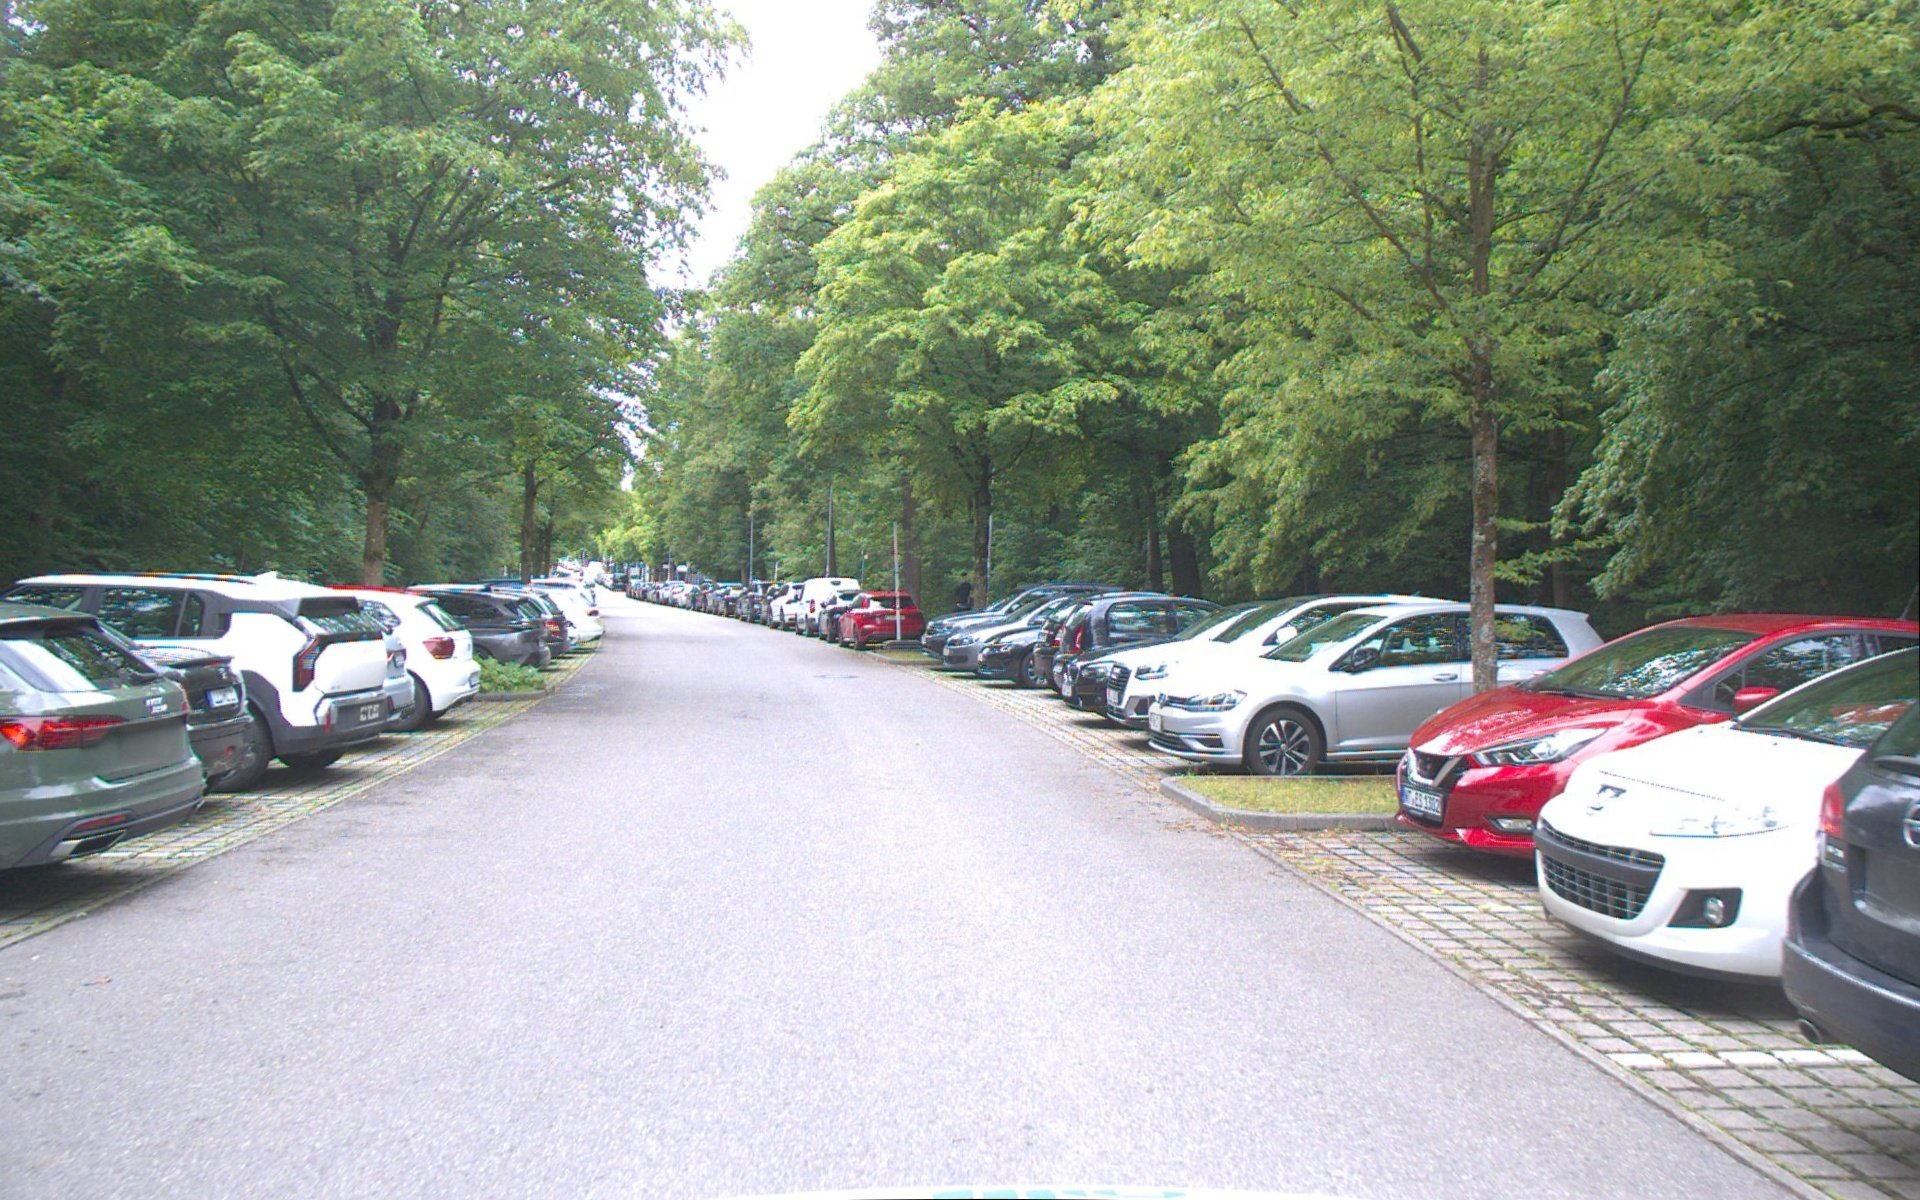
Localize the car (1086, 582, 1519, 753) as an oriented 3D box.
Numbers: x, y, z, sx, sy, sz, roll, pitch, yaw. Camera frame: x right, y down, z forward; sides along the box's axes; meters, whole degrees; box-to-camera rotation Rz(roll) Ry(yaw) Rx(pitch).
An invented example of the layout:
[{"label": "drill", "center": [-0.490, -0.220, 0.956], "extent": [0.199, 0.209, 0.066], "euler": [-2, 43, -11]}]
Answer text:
[{"label": "car", "center": [3.407, 0.650, 16.961], "extent": [3.930, 1.586, 1.976], "euler": [1, 1, -5]}]

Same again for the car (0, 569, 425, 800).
[{"label": "car", "center": [-6.477, 0.596, 12.966], "extent": [3.878, 1.656, 1.999], "euler": [0, 0, 2]}]

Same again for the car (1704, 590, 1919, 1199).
[{"label": "car", "center": [4.164, 0.774, 4.277], "extent": [3.696, 1.507, 1.771], "euler": [1, 1, -7]}]

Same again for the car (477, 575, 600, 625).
[{"label": "car", "center": [-15.014, 0.002, 59.078], "extent": [4.151, 1.661, 2.022], "euler": [1, 0, -13]}]

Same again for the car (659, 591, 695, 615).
[{"label": "car", "center": [-18.570, 0.190, 108.379], "extent": [1.696, 1.520, 3.753], "euler": [1, 0, -19]}]

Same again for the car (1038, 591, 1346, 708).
[{"label": "car", "center": [3.043, 0.632, 22.138], "extent": [3.755, 1.483, 1.806], "euler": [0, 0, -8]}]

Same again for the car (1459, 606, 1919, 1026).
[{"label": "car", "center": [4.326, 0.799, 6.923], "extent": [3.855, 1.435, 1.876], "euler": [1, 1, -5]}]

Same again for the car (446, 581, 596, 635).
[{"label": "car", "center": [-13.687, 0.242, 51.764], "extent": [4.437, 1.612, 1.920], "euler": [1, 0, -14]}]

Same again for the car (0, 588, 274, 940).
[{"label": "car", "center": [-6.002, 0.692, 7.954], "extent": [4.549, 1.504, 2.093], "euler": [0, 0, -5]}]

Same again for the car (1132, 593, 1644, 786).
[{"label": "car", "center": [3.641, 0.739, 14.436], "extent": [3.903, 1.509, 1.880], "euler": [1, 1, -9]}]

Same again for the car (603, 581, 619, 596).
[{"label": "car", "center": [-39.141, -1.323, 185.457], "extent": [1.601, 1.440, 3.398], "euler": [2, 3, -15]}]

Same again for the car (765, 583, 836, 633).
[{"label": "car", "center": [-5.710, 0.253, 58.639], "extent": [1.756, 1.691, 4.699], "euler": [1, 0, -15]}]

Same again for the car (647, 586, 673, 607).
[{"label": "car", "center": [-22.845, -0.270, 125.875], "extent": [1.682, 1.535, 3.985], "euler": [1, 0, -14]}]

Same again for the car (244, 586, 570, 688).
[{"label": "car", "center": [-8.207, 0.539, 24.932], "extent": [4.322, 1.449, 2.032], "euler": [1, 0, -8]}]

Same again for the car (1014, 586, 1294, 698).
[{"label": "car", "center": [2.806, 0.582, 24.363], "extent": [3.756, 1.558, 1.847], "euler": [0, 0, -9]}]

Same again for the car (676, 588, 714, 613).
[{"label": "car", "center": [-16.509, 0.012, 102.889], "extent": [1.905, 1.501, 3.975], "euler": [1, 0, -16]}]

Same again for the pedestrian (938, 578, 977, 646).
[{"label": "pedestrian", "center": [-0.070, 0.318, 43.673], "extent": [0.803, 1.756, 1.001], "euler": [1, 0, -12]}]

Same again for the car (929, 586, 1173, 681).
[{"label": "car", "center": [1.582, 0.585, 29.435], "extent": [3.921, 1.579, 1.968], "euler": [1, 0, -15]}]

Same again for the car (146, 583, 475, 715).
[{"label": "car", "center": [-7.798, 0.558, 20.125], "extent": [3.399, 1.507, 1.681], "euler": [0, 0, -7]}]

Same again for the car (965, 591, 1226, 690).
[{"label": "car", "center": [2.159, 0.638, 27.013], "extent": [3.913, 1.501, 1.949], "euler": [1, 0, -9]}]

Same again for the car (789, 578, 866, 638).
[{"label": "car", "center": [-4.251, 0.225, 52.623], "extent": [1.715, 1.811, 4.535], "euler": [1, 0, -14]}]

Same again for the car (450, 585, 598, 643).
[{"label": "car", "center": [-12.324, 0.387, 46.955], "extent": [3.966, 1.582, 1.913], "euler": [1, 0, -14]}]

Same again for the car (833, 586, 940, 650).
[{"label": "car", "center": [-1.941, 0.420, 41.943], "extent": [1.958, 1.505, 4.957], "euler": [1, 0, -12]}]

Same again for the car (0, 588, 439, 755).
[{"label": "car", "center": [-6.991, 0.618, 15.603], "extent": [3.733, 1.446, 1.893], "euler": [0, 0, -11]}]

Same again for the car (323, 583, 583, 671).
[{"label": "car", "center": [-9.046, 0.476, 29.871], "extent": [4.186, 1.512, 2.054], "euler": [1, 0, -8]}]

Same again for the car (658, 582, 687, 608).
[{"label": "car", "center": [-19.788, -0.351, 113.889], "extent": [1.682, 1.758, 3.985], "euler": [1, 0, -14]}]

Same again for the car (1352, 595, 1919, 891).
[{"label": "car", "center": [4.448, 0.748, 9.741], "extent": [3.729, 1.466, 1.864], "euler": [1, 1, -14]}]

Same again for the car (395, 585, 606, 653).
[{"label": "car", "center": [-10.379, 0.416, 37.552], "extent": [4.488, 1.472, 2.077], "euler": [0, 0, -16]}]

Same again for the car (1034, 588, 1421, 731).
[{"label": "car", "center": [3.079, 0.674, 19.469], "extent": [4.110, 1.538, 1.889], "euler": [1, 1, -10]}]

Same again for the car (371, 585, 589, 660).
[{"label": "car", "center": [-10.044, 0.466, 34.865], "extent": [4.292, 1.512, 1.885], "euler": [0, 0, -15]}]

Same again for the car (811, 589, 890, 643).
[{"label": "car", "center": [-3.195, 0.416, 47.420], "extent": [1.695, 1.447, 4.272], "euler": [1, 0, -12]}]

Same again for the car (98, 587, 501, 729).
[{"label": "car", "center": [-7.001, 0.583, 17.877], "extent": [3.655, 1.444, 1.869], "euler": [0, 0, -7]}]

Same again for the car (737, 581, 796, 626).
[{"label": "car", "center": [-8.236, 0.120, 69.907], "extent": [1.858, 1.777, 4.930], "euler": [1, 0, -14]}]

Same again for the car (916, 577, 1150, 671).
[{"label": "car", "center": [1.371, 0.449, 31.970], "extent": [4.188, 1.695, 1.954], "euler": [1, 0, -10]}]

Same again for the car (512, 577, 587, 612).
[{"label": "car", "center": [-22.516, -0.301, 90.705], "extent": [3.924, 1.848, 2.105], "euler": [1, 0, -17]}]

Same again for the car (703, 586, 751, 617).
[{"label": "car", "center": [-12.127, 0.064, 85.854], "extent": [1.945, 1.564, 4.603], "euler": [1, 0, -15]}]

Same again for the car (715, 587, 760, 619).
[{"label": "car", "center": [-10.805, 0.129, 80.174], "extent": [1.610, 1.503, 4.133], "euler": [1, 0, -16]}]

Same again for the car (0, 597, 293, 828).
[{"label": "car", "center": [-6.531, 0.676, 10.752], "extent": [3.716, 1.380, 1.727], "euler": [0, 0, -6]}]

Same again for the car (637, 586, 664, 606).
[{"label": "car", "center": [-24.870, -0.315, 132.779], "extent": [1.888, 1.547, 3.873], "euler": [1, 0, -13]}]

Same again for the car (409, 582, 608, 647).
[{"label": "car", "center": [-10.793, 0.355, 39.856], "extent": [4.482, 1.512, 1.864], "euler": [0, 0, -12]}]
